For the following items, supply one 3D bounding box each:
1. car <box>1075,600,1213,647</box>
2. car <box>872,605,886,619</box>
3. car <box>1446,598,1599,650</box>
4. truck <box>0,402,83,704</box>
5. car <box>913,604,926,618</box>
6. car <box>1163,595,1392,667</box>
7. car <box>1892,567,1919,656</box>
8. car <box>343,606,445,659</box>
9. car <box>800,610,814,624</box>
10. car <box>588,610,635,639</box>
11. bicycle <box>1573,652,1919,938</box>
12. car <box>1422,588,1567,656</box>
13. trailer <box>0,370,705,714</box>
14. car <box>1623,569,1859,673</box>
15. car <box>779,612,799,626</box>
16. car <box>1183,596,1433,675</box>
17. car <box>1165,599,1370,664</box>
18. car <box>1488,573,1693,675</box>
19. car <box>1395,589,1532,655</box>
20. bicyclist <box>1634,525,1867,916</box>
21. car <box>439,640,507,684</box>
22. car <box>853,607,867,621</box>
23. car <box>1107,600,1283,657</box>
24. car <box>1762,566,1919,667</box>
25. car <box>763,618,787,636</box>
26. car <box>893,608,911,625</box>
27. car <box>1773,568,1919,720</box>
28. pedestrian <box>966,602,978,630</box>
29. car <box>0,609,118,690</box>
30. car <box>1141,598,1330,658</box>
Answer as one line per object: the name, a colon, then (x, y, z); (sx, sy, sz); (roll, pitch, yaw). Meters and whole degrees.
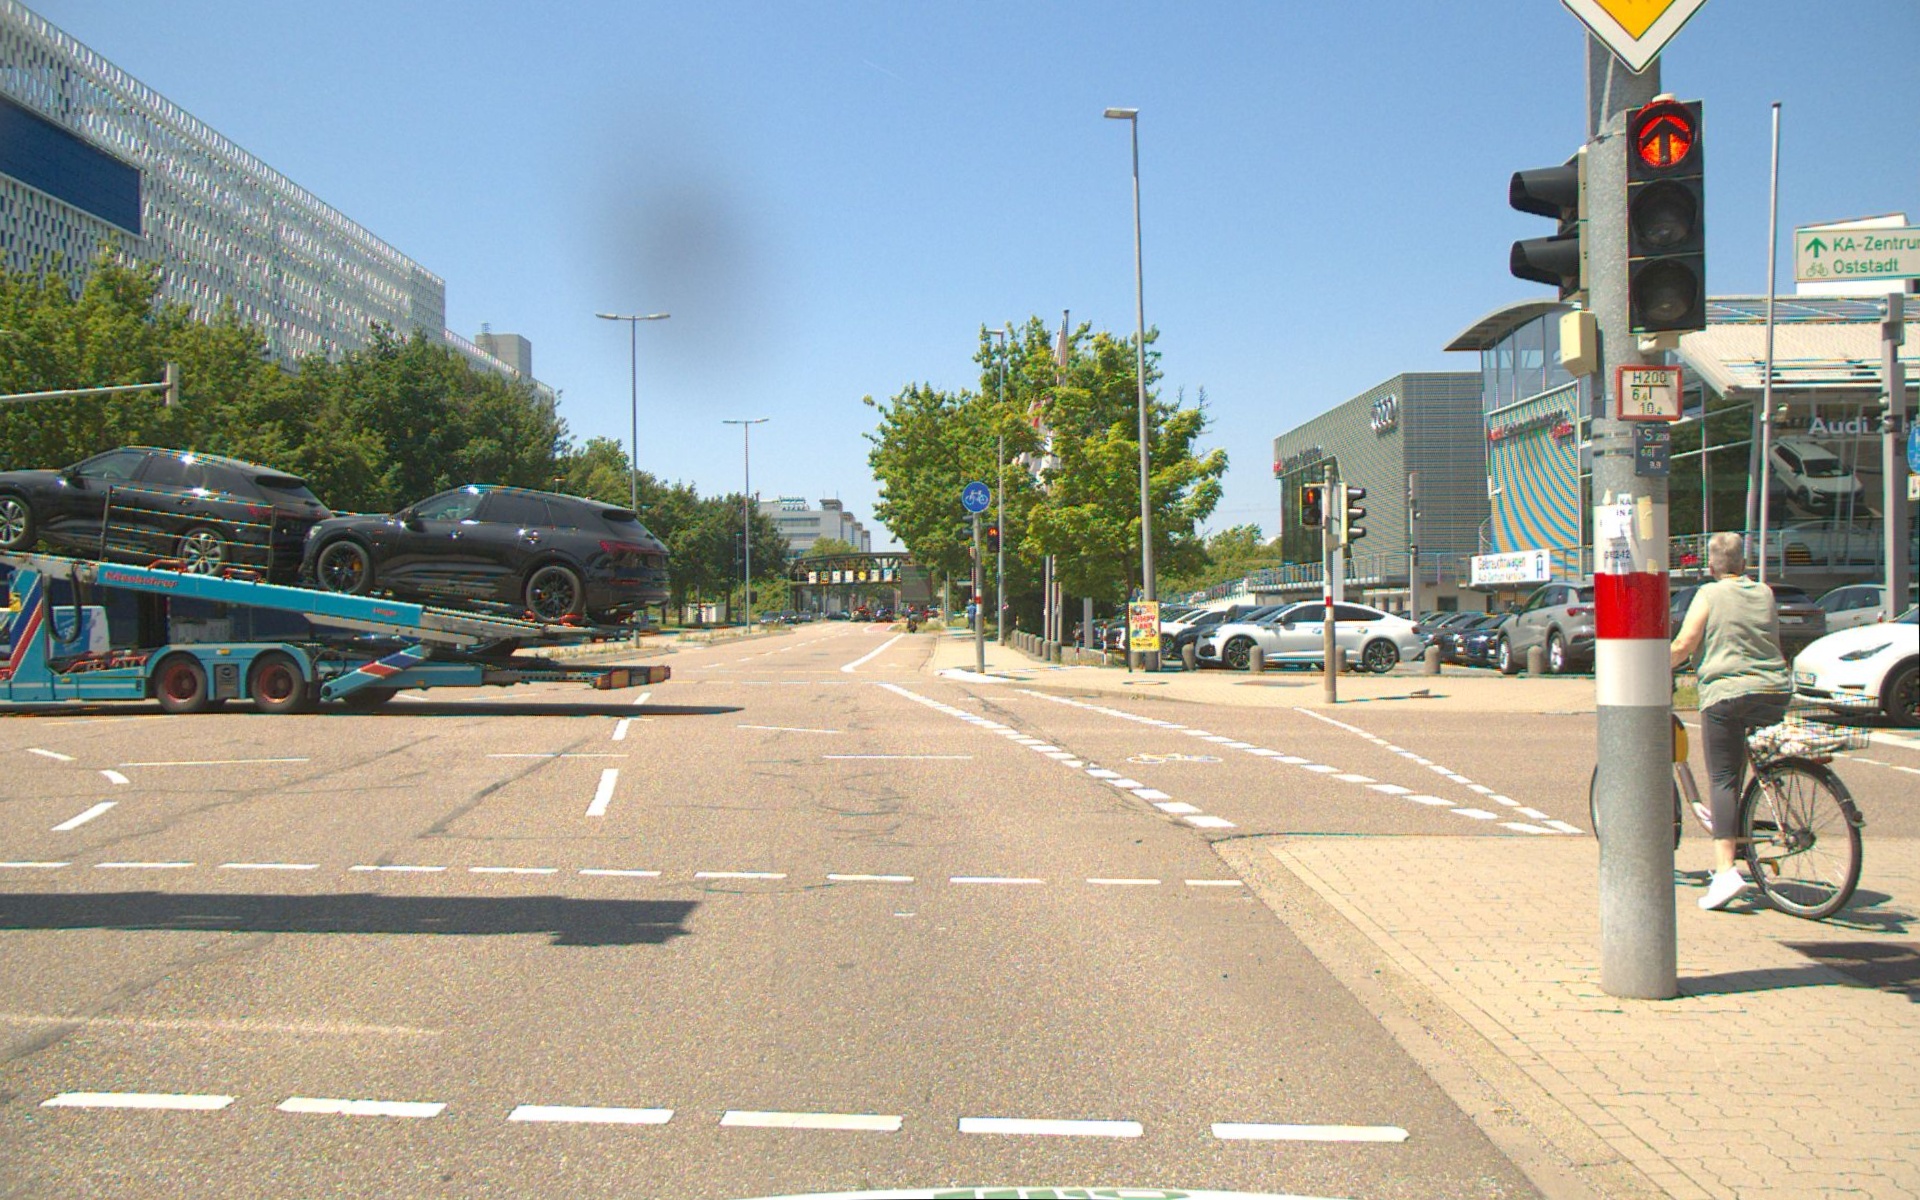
car: (6.567, 0.831, 59.267); (4.646, 1.482, 1.999); (-2, 0, -3)
car: (-10.775, 1.600, 220.285); (1.736, 1.758, 3.999); (-1, -1, -1)
car: (16.846, 0.707, 49.654); (4.008, 1.486, 1.719); (-1, 0, 0)
truck: (-18.304, -0.625, 23.591); (10.391, 4.154, 3.103); (0, -1, 8)
car: (-5.378, 1.501, 220.870); (1.736, 1.758, 3.999); (-1, -1, -1)
car: (6.883, 0.674, 36.212); (4.643, 1.482, 2.000); (-1, -1, 1)
car: (18.833, 0.210, 29.471); (1.847, 1.668, 4.524); (-1, 0, -1)
car: (-18.471, 1.030, 54.219); (1.837, 1.626, 4.495); (-1, -1, -1)
car: (-18.842, 2.072, 203.610); (1.616, 1.682, 4.161); (-1, 0, -3)
car: (-21.626, 1.506, 102.734); (1.886, 1.694, 4.089); (-1, -1, 2)
bicycle: (3.788, 0.865, 8.065); (0.771, 1.147, 1.919); (0, 0, -4)
car: (16.761, 0.680, 51.995); (3.905, 2.049, 2.000); (-1, 0, 0)
trailer: (-8.441, -0.668, 22.183); (9.407, 4.153, 3.097); (0, -1, 8)
car: (13.673, 0.324, 29.304); (1.953, 1.668, 4.557); (-1, 0, -1)
car: (-17.290, 1.926, 167.618); (1.650, 1.436, 3.664); (-1, -1, -1)
car: (6.958, 0.696, 33.450); (4.643, 1.482, 2.000); (-1, 0, 1)
car: (7.416, 0.750, 40.252); (4.643, 1.482, 2.000); (-1, 0, 1)
car: (11.069, 0.377, 29.377); (1.953, 1.668, 4.268); (-1, 0, -1)
car: (16.651, 0.719, 54.809); (3.905, 2.049, 2.000); (-1, 0, 0)
bicyclist: (3.771, 0.550, 7.939); (0.719, 1.779, 0.753); (0, 0, -5)
car: (-23.715, 3.027, 80.735); (1.952, 2.049, 4.001); (-1, -2, 3)
car: (-13.558, 1.911, 223.795); (1.736, 1.758, 3.999); (-1, -1, -1)
car: (6.605, 0.786, 46.832); (4.646, 1.482, 1.999); (-1, 0, -3)
car: (16.418, 0.239, 29.542); (1.953, 1.668, 4.440); (-1, 0, -1)
car: (-16.281, 2.350, 145.685); (1.697, 1.452, 3.705); (-3, -1, -1)
car: (-3.693, 1.065, 105.311); (1.114, 1.060, 2.308); (-1, 0, -1)
car: (11.873, 0.450, 18.489); (4.581, 1.616, 2.001); (0, 0, 5)
pedestrian: (0.648, 0.867, 89.699); (0.654, 1.537, 0.736); (-1, 0, -1)
car: (-24.998, 1.299, 44.186); (1.951, 2.043, 4.768); (-1, -1, 10)
car: (7.292, 0.736, 44.078); (4.646, 1.482, 1.999); (-1, 0, -3)
